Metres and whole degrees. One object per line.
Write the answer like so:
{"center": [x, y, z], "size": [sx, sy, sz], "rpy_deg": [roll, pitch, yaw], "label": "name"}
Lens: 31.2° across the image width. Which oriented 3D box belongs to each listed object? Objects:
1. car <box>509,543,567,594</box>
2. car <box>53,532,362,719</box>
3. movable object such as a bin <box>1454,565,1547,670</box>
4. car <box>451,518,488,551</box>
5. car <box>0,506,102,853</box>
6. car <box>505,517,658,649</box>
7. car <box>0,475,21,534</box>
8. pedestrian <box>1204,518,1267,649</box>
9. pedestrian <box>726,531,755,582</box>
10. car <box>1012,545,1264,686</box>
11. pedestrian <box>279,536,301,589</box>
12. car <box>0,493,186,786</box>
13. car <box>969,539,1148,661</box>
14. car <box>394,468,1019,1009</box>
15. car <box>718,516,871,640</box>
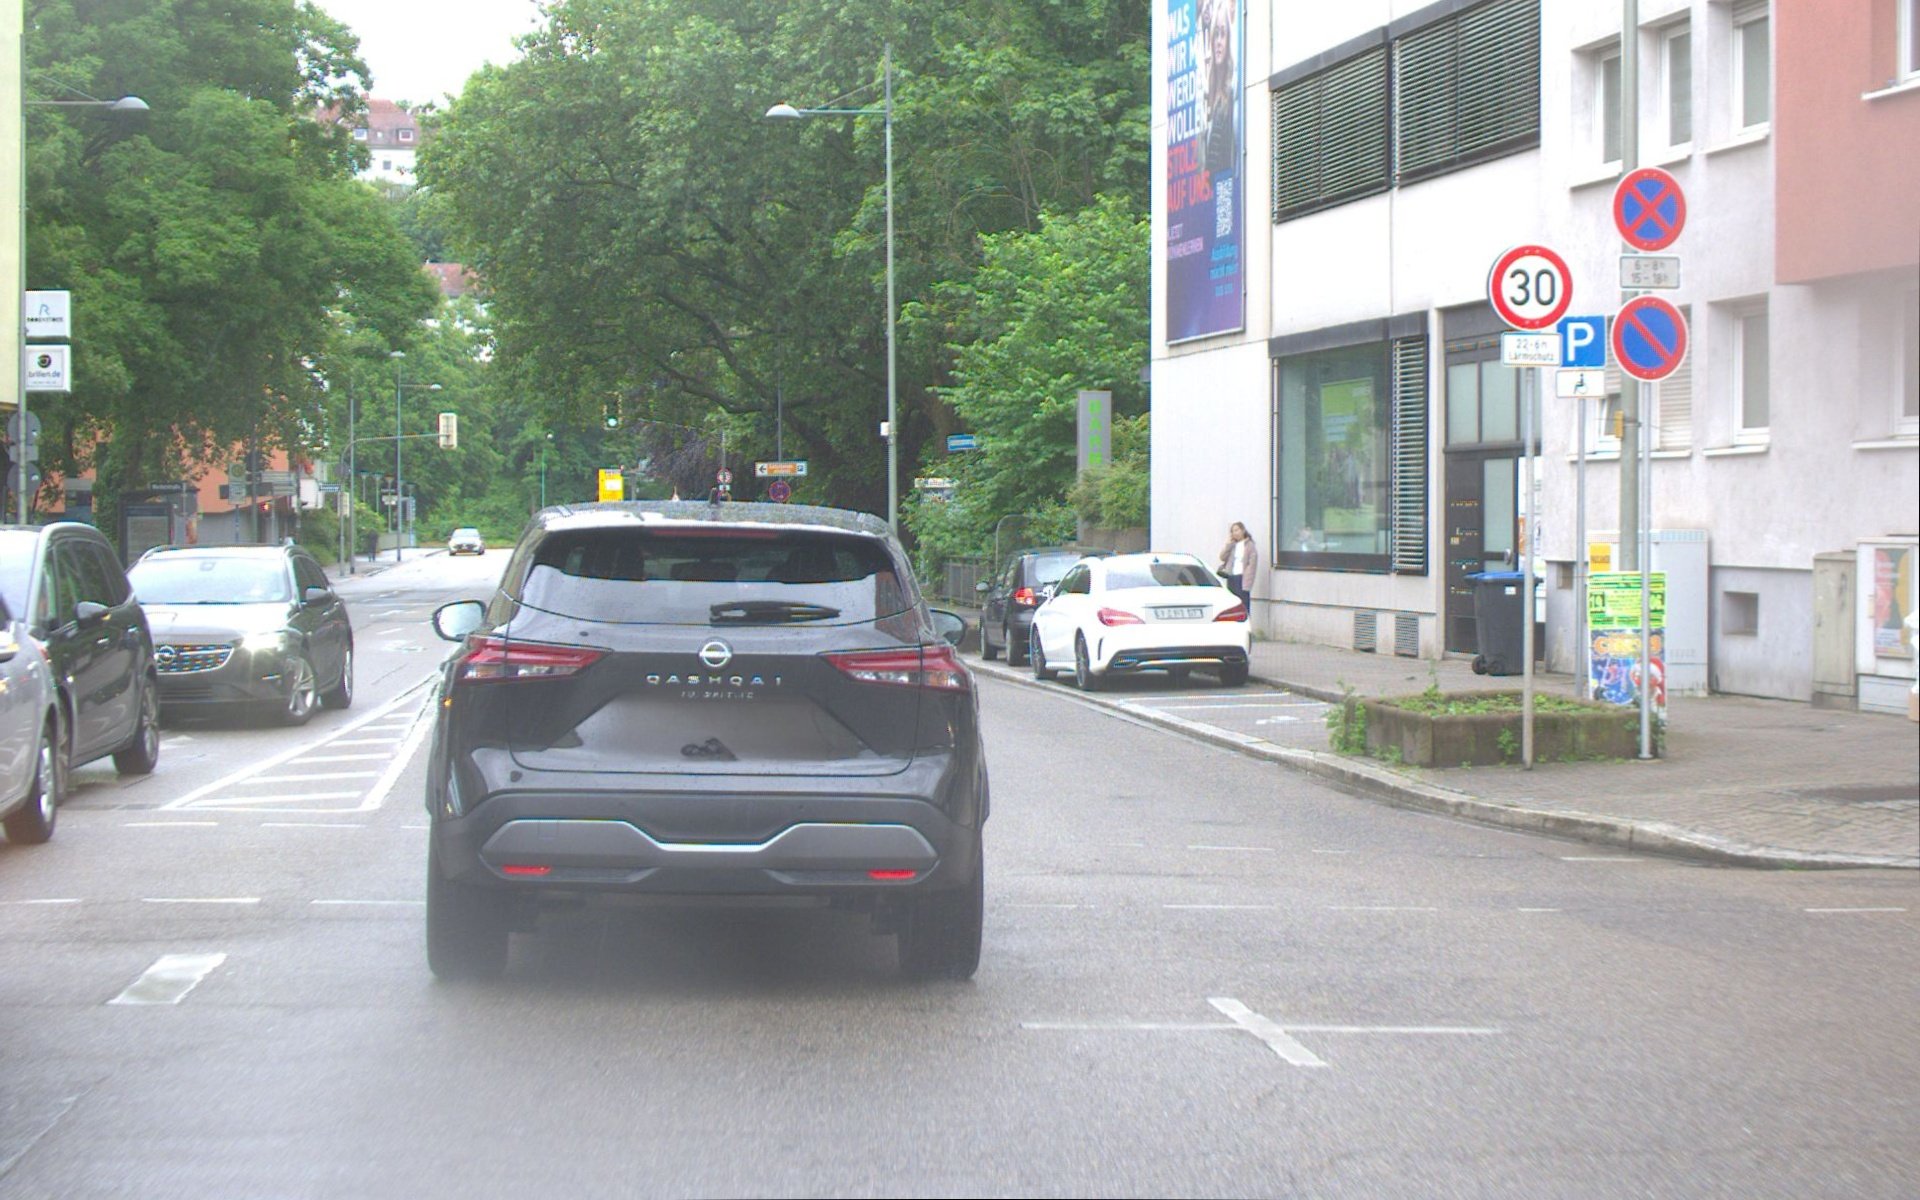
{"center": [-14.221, -1.081, 115.992], "size": [1.820, 1.606, 3.866], "rpy_deg": [2, 1, -6], "label": "car"}
{"center": [-6.165, 0.202, 28.639], "size": [1.820, 1.428, 4.399], "rpy_deg": [0, 0, -3], "label": "car"}
{"center": [5.609, 0.177, 35.690], "size": [0.712, 1.064, 0.784], "rpy_deg": [0, 1, -13], "label": "movable object such as a bin"}
{"center": [-27.143, -3.631, 190.253], "size": [1.820, 1.790, 3.866], "rpy_deg": [2, 1, -6], "label": "car"}
{"center": [-5.325, 0.356, 16.274], "size": [1.934, 1.521, 4.136], "rpy_deg": [0, 0, -7], "label": "car"}
{"center": [-5.172, -0.233, 47.132], "size": [1.945, 1.679, 4.001], "rpy_deg": [-2, 0, -6], "label": "car"}
{"center": [-29.902, -2.879, 101.725], "size": [3.832, 1.728, 1.880], "rpy_deg": [2, 1, -8], "label": "car"}
{"center": [3.689, -0.224, 46.094], "size": [0.612, 1.731, 0.681], "rpy_deg": [-2, 1, -14], "label": "pedestrian"}
{"center": [-7.848, -1.550, 122.788], "size": [0.721, 1.785, 0.667], "rpy_deg": [3, 1, 42], "label": "pedestrian"}
{"center": [1.866, 0.121, 37.532], "size": [1.774, 1.396, 4.581], "rpy_deg": [-2, 1, -9], "label": "car"}
{"center": [-23.003, -1.288, 118.041], "size": [0.666, 1.785, 0.722], "rpy_deg": [2, 1, -14], "label": "pedestrian"}
{"center": [-6.028, 0.223, 20.970], "size": [1.820, 1.603, 4.431], "rpy_deg": [0, 0, -3], "label": "car"}
{"center": [1.210, -0.040, 43.937], "size": [1.714, 1.437, 4.082], "rpy_deg": [-2, 1, -6], "label": "car"}
{"center": [-1.003, 0.396, 12.421], "size": [1.894, 1.623, 4.001], "rpy_deg": [0, 1, -7], "label": "car"}
{"center": [-2.620, -0.331, 53.679], "size": [1.945, 1.810, 4.001], "rpy_deg": [-2, 0, -8], "label": "car"}
